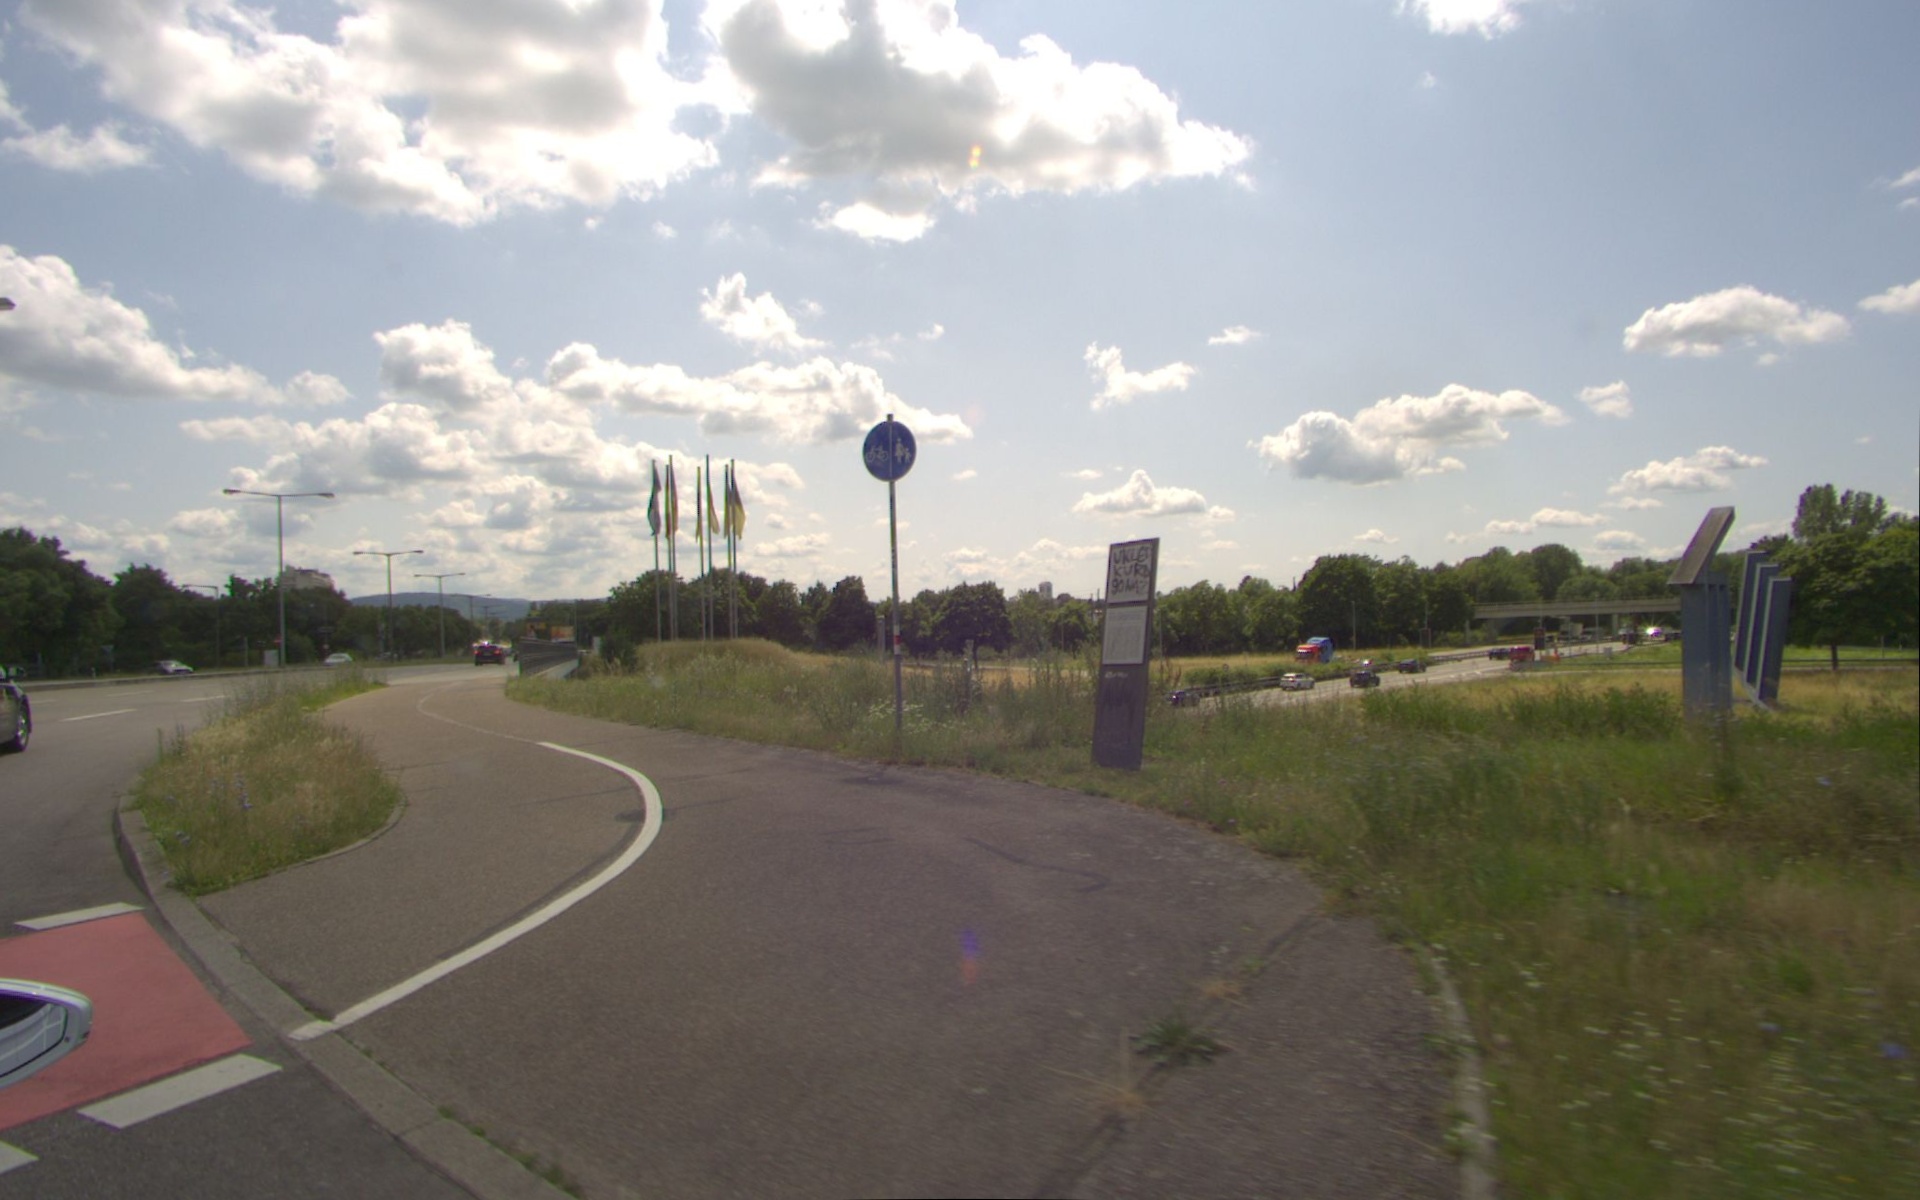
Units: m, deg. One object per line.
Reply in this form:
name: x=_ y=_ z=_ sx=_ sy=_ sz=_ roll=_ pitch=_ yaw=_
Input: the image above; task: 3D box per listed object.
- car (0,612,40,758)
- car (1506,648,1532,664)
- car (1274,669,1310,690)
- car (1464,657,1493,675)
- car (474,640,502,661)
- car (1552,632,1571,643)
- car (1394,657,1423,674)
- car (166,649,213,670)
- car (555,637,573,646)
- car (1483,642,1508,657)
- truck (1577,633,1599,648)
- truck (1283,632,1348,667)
car: x=-12.051 y=0.987 z=11.359 sx=1.762 sy=1.705 sz=3.975 roll=1 pitch=-2 yaw=-34
car: x=76.179 y=7.585 z=136.439 sx=3.962 sy=2.039 sz=1.981 roll=2 pitch=-2 yaw=-44
car: x=34.632 y=8.249 z=104.269 sx=3.962 sy=2.039 sz=1.981 roll=2 pitch=-2 yaw=-44
car: x=63.403 y=8.005 z=122.427 sx=3.962 sy=2.039 sz=1.981 roll=2 pitch=-2 yaw=-44
car: x=-38.955 y=4.140 z=82.690 sx=1.968 sy=1.683 sz=3.987 roll=1 pitch=-2 yaw=-24
car: x=111.404 y=6.858 z=185.427 sx=3.962 sy=2.039 sz=1.981 roll=2 pitch=-2 yaw=-44
car: x=54.815 y=7.990 z=122.328 sx=3.962 sy=2.039 sz=1.981 roll=2 pitch=-2 yaw=-44
car: x=-66.910 y=5.130 z=87.005 sx=2.061 sy=1.647 sz=4.537 roll=1 pitch=-2 yaw=-22
car: x=-78.433 y=8.266 z=198.257 sx=1.980 sy=1.683 sz=3.963 roll=1 pitch=-2 yaw=-43
car: x=74.965 y=6.951 z=140.160 sx=3.962 sy=2.039 sz=1.981 roll=2 pitch=-2 yaw=-44
truck: x=115.344 y=7.379 z=183.927 sx=6.555 sy=2.736 sz=1.981 roll=2 pitch=-2 yaw=-44
truck: x=47.072 y=6.456 z=132.389 sx=9.531 sy=4.459 sz=3.982 roll=2 pitch=-2 yaw=-41
